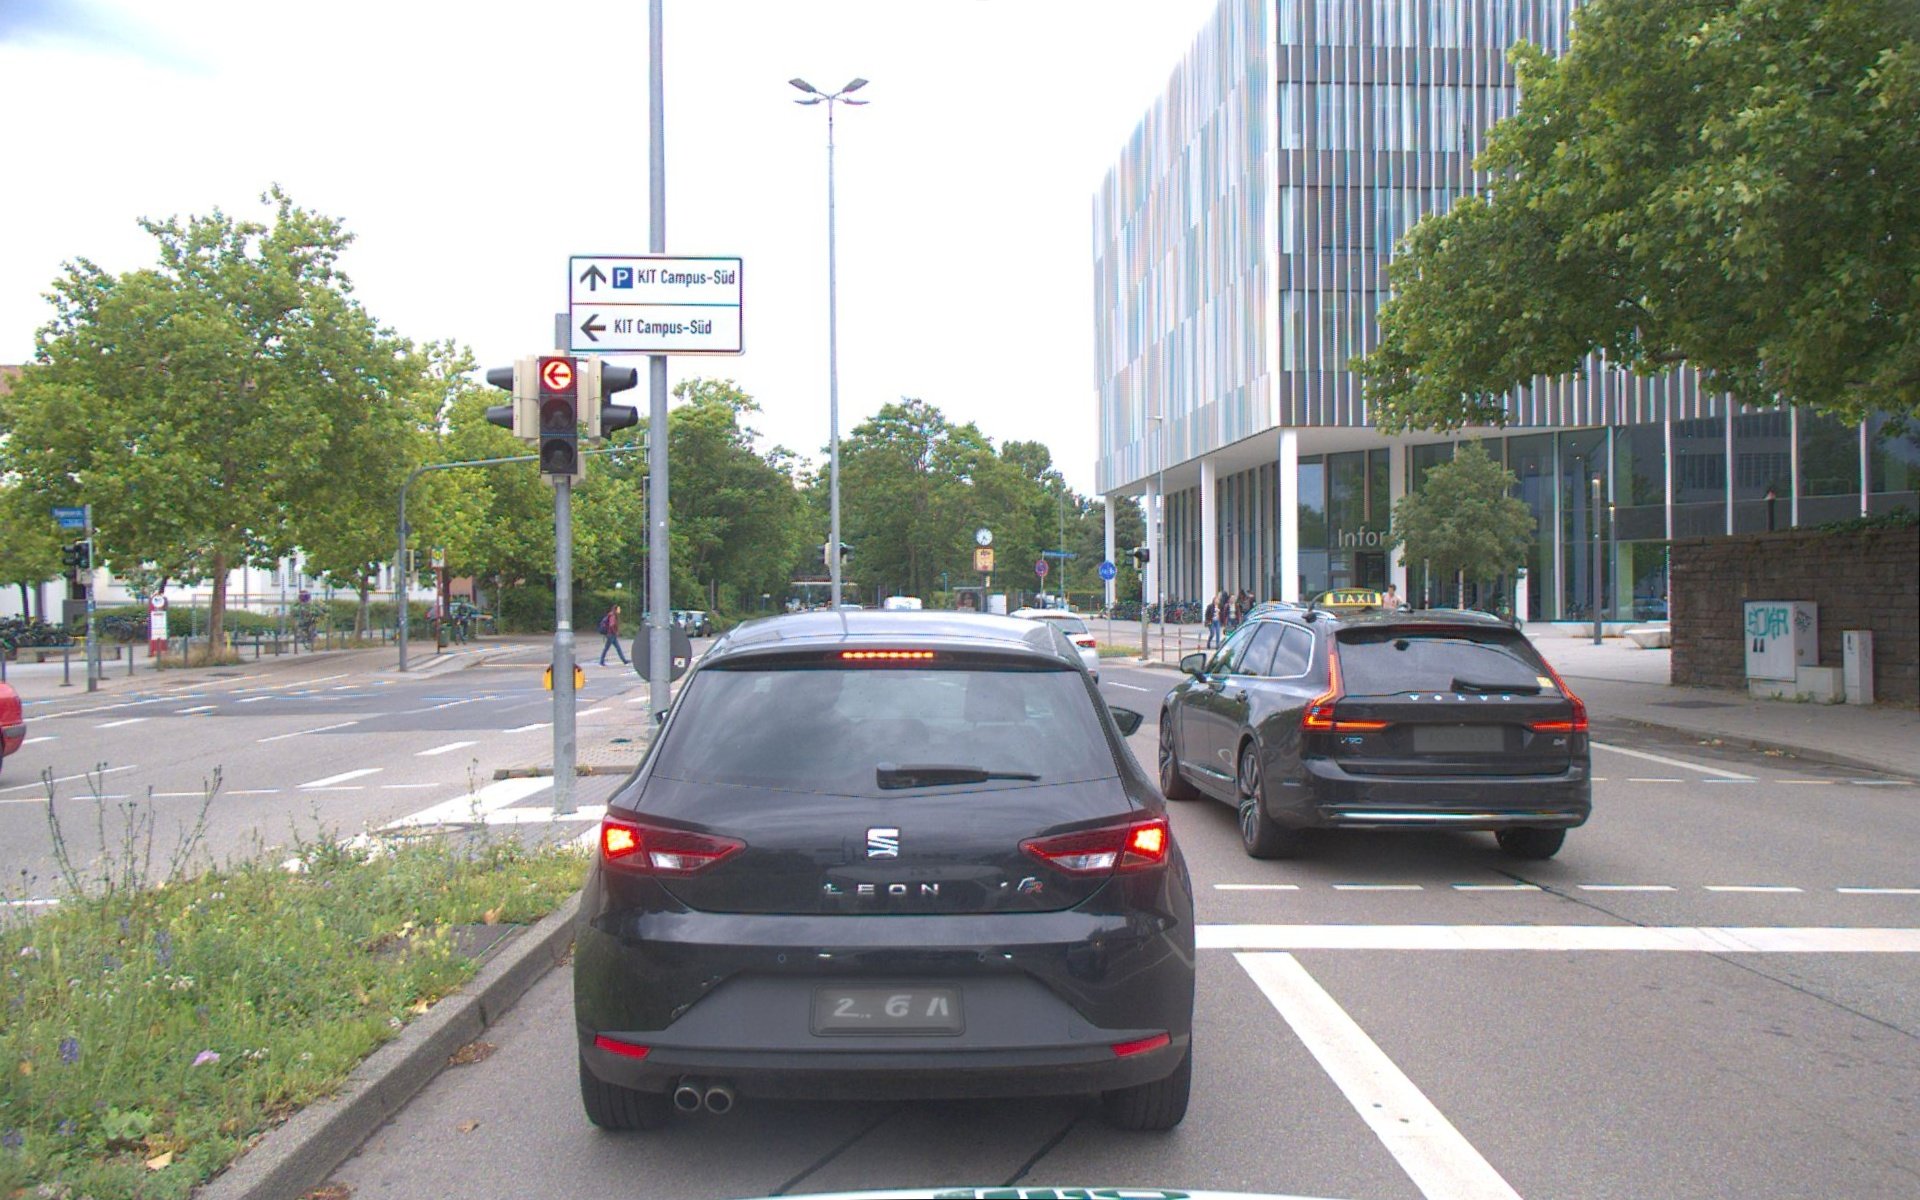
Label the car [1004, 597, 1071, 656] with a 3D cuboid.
[{"bbox_3d":[2.185,0.779,47.406,1.787,1.578,4.527,1,-1,1],"label":"car"}]

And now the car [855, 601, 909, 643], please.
[{"bbox_3d":[-2.896,0.769,60.915,1.689,1.439,4.240,1,1,-6],"label":"car"}]

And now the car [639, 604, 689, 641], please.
[{"bbox_3d":[-15.356,1.142,86.059,1.868,1.747,3.999,-2,0,-1],"label":"car"}]

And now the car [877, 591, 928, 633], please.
[{"bbox_3d":[-2.916,0.559,82.844,1.930,2.007,4.333,1,0,-10],"label":"car"}]

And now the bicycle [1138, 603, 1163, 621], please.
[{"bbox_3d":[10.618,0.675,92.000,1.357,0.958,0.488,-1,0,6],"label":"bicycle"}]

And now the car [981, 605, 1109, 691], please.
[{"bbox_3d":[1.519,0.856,31.023,1.747,1.488,3.865,0,0,-7],"label":"car"}]

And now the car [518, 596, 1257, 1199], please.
[{"bbox_3d":[-0.122,0.729,5.760,1.717,1.457,3.770,1,0,1],"label":"car"}]

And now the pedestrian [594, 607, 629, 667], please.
[{"bbox_3d":[-9.652,1.016,45.855,0.858,1.614,0.542,-2,0,-8],"label":"pedestrian"}]

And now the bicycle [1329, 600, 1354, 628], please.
[{"bbox_3d":[15.537,0.568,67.408,0.607,1.064,1.704,-2,1,25],"label":"bicycle"}]

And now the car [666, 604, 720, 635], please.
[{"bbox_3d":[-15.436,1.118,95.661,1.721,1.615,4.004,-2,1,12],"label":"car"}]

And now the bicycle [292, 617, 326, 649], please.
[{"bbox_3d":[-23.291,1.169,59.183,0.596,1.079,2.041,-2,0,-7],"label":"bicycle"}]

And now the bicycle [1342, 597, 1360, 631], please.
[{"bbox_3d":[15.286,0.538,64.611,0.515,1.275,1.667,-2,0,17],"label":"bicycle"}]

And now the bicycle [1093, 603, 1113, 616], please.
[{"bbox_3d":[9.413,0.624,109.098,1.241,0.863,0.479,2,-1,-23],"label":"bicycle"}]

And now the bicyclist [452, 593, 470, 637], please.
[{"bbox_3d":[-18.901,0.567,62.610,0.481,1.653,0.588,1,1,-1],"label":"bicyclist"}]

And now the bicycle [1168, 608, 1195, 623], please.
[{"bbox_3d":[11.544,0.829,86.150,1.345,0.717,0.489,-2,0,8],"label":"bicycle"}]

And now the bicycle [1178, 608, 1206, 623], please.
[{"bbox_3d":[11.830,0.805,84.358,1.346,0.717,0.416,-2,0,2],"label":"bicycle"}]

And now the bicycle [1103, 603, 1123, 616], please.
[{"bbox_3d":[9.912,0.616,106.997,1.218,0.837,0.479,2,-1,-23],"label":"bicycle"}]

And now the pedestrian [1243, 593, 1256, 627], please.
[{"bbox_3d":[12.049,0.399,68.889,0.462,1.385,0.446,-2,0,9],"label":"pedestrian"}]

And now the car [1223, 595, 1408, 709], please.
[{"bbox_3d":[5.605,0.764,26.648,1.869,1.653,4.489,1,0,-2],"label":"car"}]

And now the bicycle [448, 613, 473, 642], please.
[{"bbox_3d":[-18.910,1.021,62.624,0.478,1.023,1.589,1,1,-1],"label":"bicycle"}]

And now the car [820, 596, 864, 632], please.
[{"bbox_3d":[-5.542,0.618,77.260,1.698,1.631,4.096,0,0,-10],"label":"car"}]

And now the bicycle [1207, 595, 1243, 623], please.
[{"bbox_3d":[12.476,0.425,77.908,1.758,1.232,0.563,-2,0,-35],"label":"bicycle"}]

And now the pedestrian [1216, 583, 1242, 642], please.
[{"bbox_3d":[8.383,0.391,51.508,0.673,1.812,0.677,0,0,-1],"label":"pedestrian"}]

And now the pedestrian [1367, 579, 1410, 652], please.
[{"bbox_3d":[10.883,0.381,41.994,0.830,1.795,0.767,-2,0,-1],"label":"pedestrian"}]

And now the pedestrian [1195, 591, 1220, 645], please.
[{"bbox_3d":[7.705,0.568,51.549,0.673,1.668,0.632,1,0,-1],"label":"pedestrian"}]

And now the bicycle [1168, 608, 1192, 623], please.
[{"bbox_3d":[11.579,0.822,87.043,1.213,0.717,0.489,-2,0,8],"label":"bicycle"}]

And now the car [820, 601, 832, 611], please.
[{"bbox_3d":[-21.215,0.975,261.523,1.663,1.530,4.003,-2,1,-7],"label":"car"}]

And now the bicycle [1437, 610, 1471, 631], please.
[{"bbox_3d":[18.193,0.751,60.908,1.515,0.728,0.511,-3,1,-44],"label":"bicycle"}]

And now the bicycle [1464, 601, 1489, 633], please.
[{"bbox_3d":[18.709,0.618,59.873,0.792,1.074,1.950,-2,1,19],"label":"bicycle"}]

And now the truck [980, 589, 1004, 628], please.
[{"bbox_3d":[1.962,0.521,101.587,1.291,2.282,3.401,-2,0,-1],"label":"truck"}]

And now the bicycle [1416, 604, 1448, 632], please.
[{"bbox_3d":[17.588,0.671,61.557,0.682,0.963,1.981,-2,1,29],"label":"bicycle"}]

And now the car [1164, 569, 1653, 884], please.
[{"bbox_3d":[2.604,0.654,10.798,1.845,1.628,4.445,0,0,-2],"label":"car"}]

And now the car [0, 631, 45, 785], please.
[{"bbox_3d":[-9.965,1.069,14.265,1.678,1.443,4.295,-2,0,1],"label":"car"}]

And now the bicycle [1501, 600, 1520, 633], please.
[{"bbox_3d":[19.615,0.583,58.962,0.609,1.074,1.950,-2,1,19],"label":"bicycle"}]
